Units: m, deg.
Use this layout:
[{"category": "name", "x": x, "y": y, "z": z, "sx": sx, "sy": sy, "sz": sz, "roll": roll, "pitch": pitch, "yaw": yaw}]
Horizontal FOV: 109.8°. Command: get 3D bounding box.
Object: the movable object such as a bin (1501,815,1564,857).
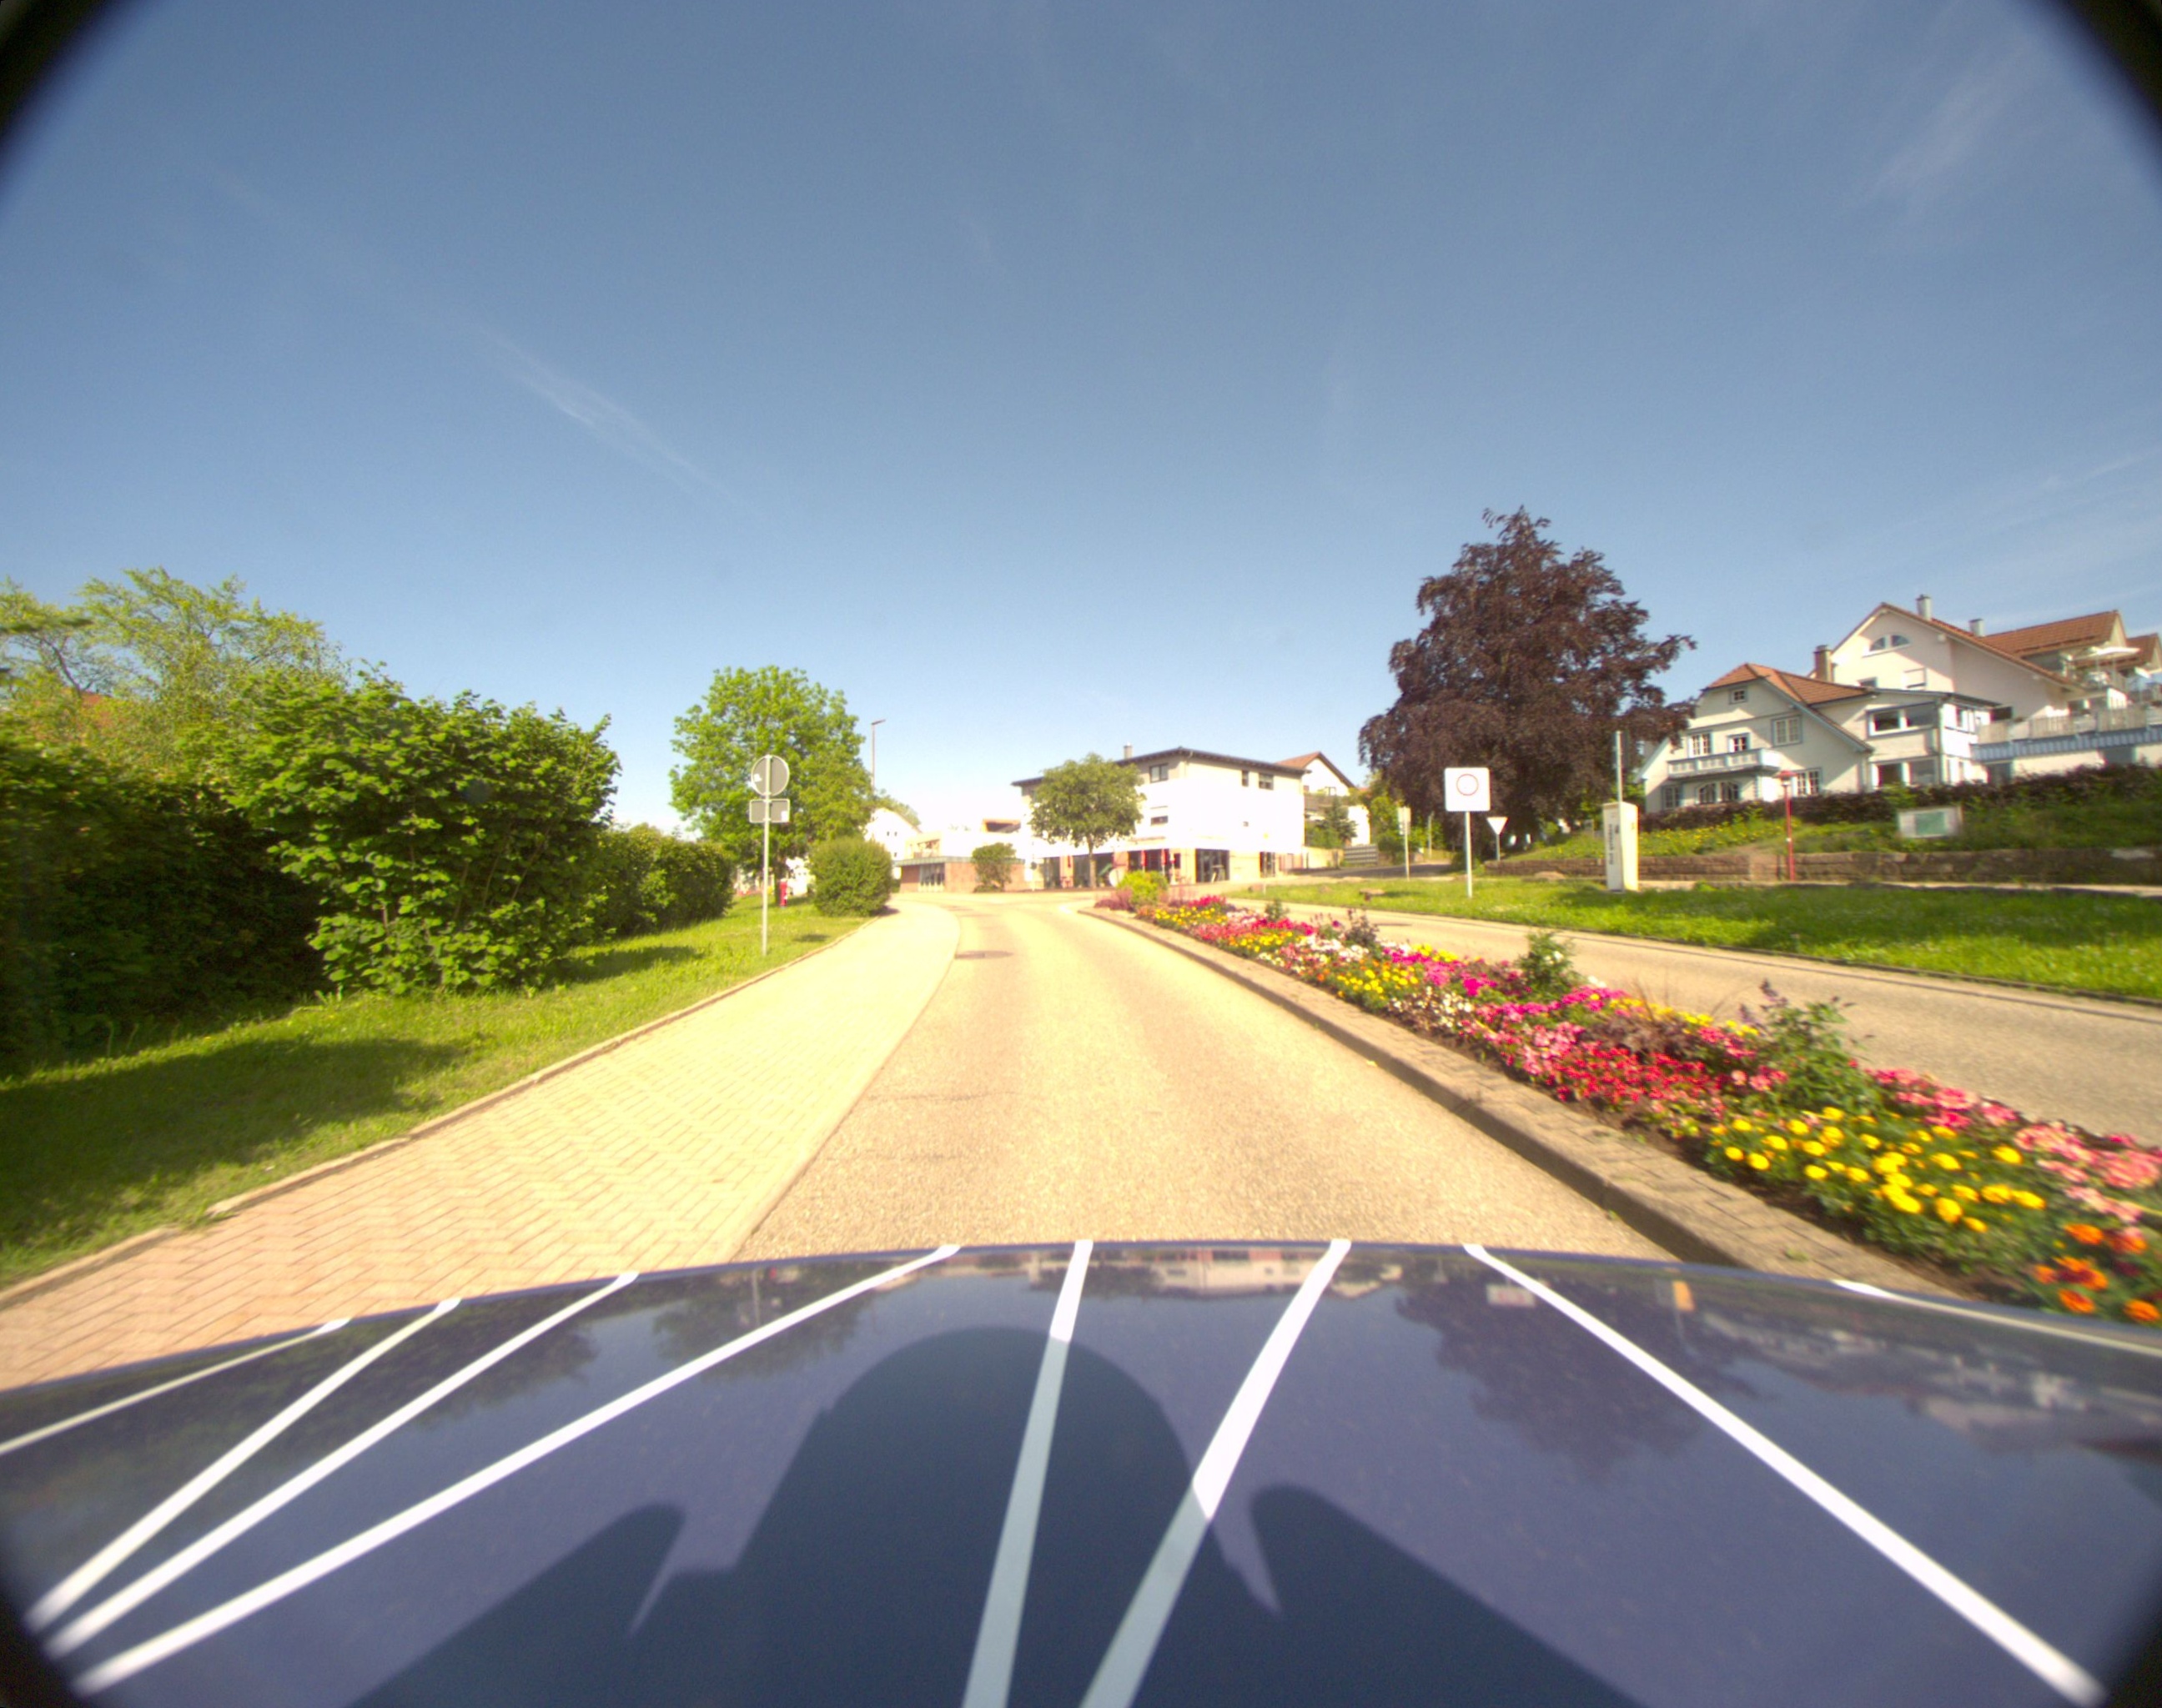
[{"category": "movable object such as a bin", "x": 31.119, "y": -1.249, "z": 52.350, "sx": 5.114, "sy": 2.753, "sz": 1.995, "roll": -2, "pitch": 0, "yaw": -39}]
